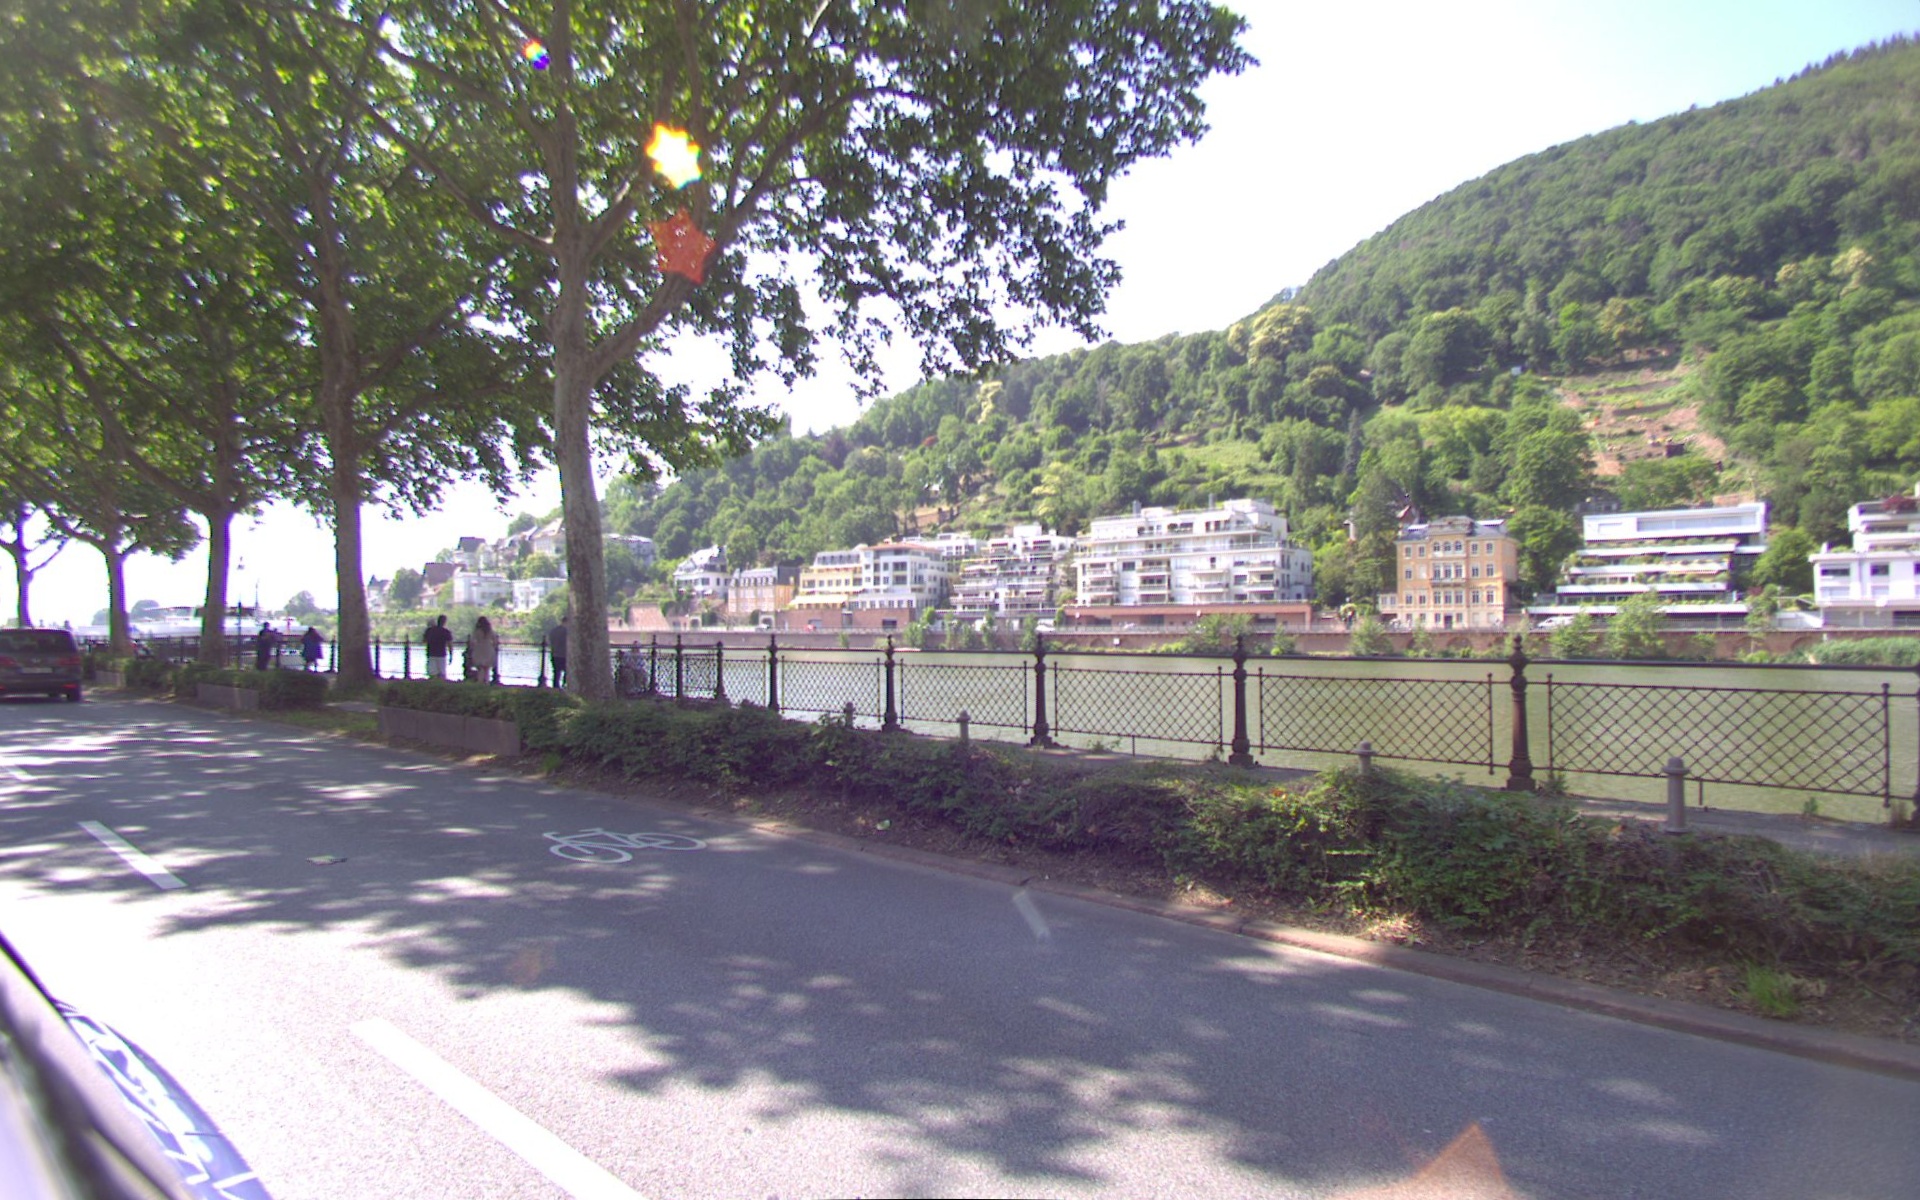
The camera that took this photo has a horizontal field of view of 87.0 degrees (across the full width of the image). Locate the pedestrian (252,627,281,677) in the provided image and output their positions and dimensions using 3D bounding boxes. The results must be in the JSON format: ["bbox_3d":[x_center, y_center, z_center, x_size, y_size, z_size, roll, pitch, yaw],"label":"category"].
[{"bbox_3d":[-24.317,1.805,35.497,0.705,1.744,0.696,-2,-2,43],"label":"pedestrian"}]

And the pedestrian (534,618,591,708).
[{"bbox_3d":[-7.885,1.229,20.082,0.873,1.730,0.686,-2,0,40],"label":"pedestrian"}]

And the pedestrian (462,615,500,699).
[{"bbox_3d":[-10.342,1.225,21.857,0.592,1.782,0.511,-2,-4,42],"label":"pedestrian"}]

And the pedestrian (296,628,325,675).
[{"bbox_3d":[-22.665,1.770,35.321,0.705,1.615,0.696,-2,-2,43],"label":"pedestrian"}]

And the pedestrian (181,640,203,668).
[{"bbox_3d":[-36.043,2.520,47.503,0.656,1.318,0.695,-2,-4,42],"label":"pedestrian"}]

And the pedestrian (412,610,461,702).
[{"bbox_3d":[-10.999,1.170,21.269,0.805,1.884,0.634,-2,-4,42],"label":"pedestrian"}]

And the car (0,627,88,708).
[{"bbox_3d":[-21.009,1.463,22.599,4.088,1.660,1.745,-2,-4,42],"label":"car"}]

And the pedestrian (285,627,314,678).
[{"bbox_3d":[-23.761,1.871,36.422,0.705,1.811,0.696,-2,-2,43],"label":"pedestrian"}]
